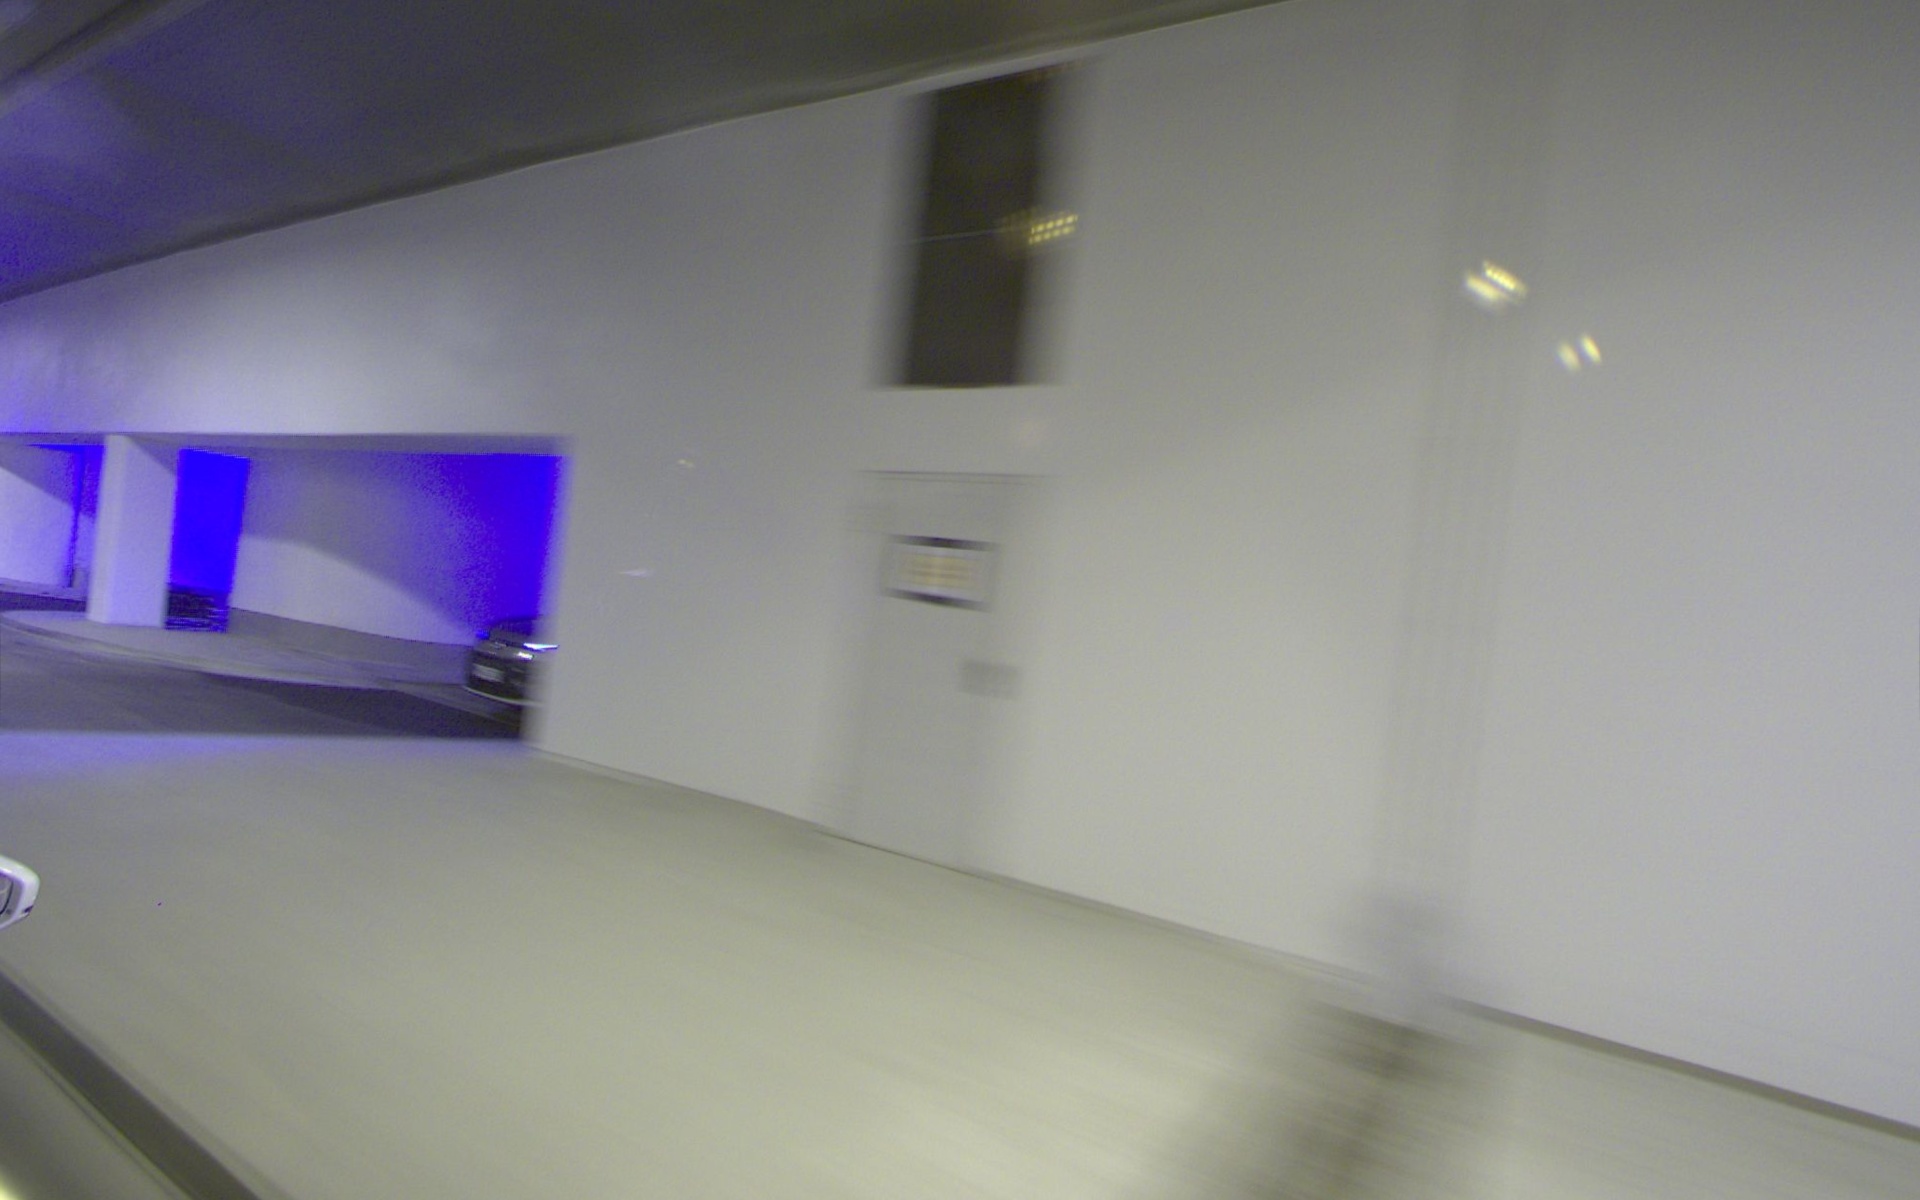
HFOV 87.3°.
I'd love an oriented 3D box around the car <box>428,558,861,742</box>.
[{"bbox_3d":[-3.286,0.628,11.268,1.869,1.564,4.228,6,-2,37],"label":"car"}]
